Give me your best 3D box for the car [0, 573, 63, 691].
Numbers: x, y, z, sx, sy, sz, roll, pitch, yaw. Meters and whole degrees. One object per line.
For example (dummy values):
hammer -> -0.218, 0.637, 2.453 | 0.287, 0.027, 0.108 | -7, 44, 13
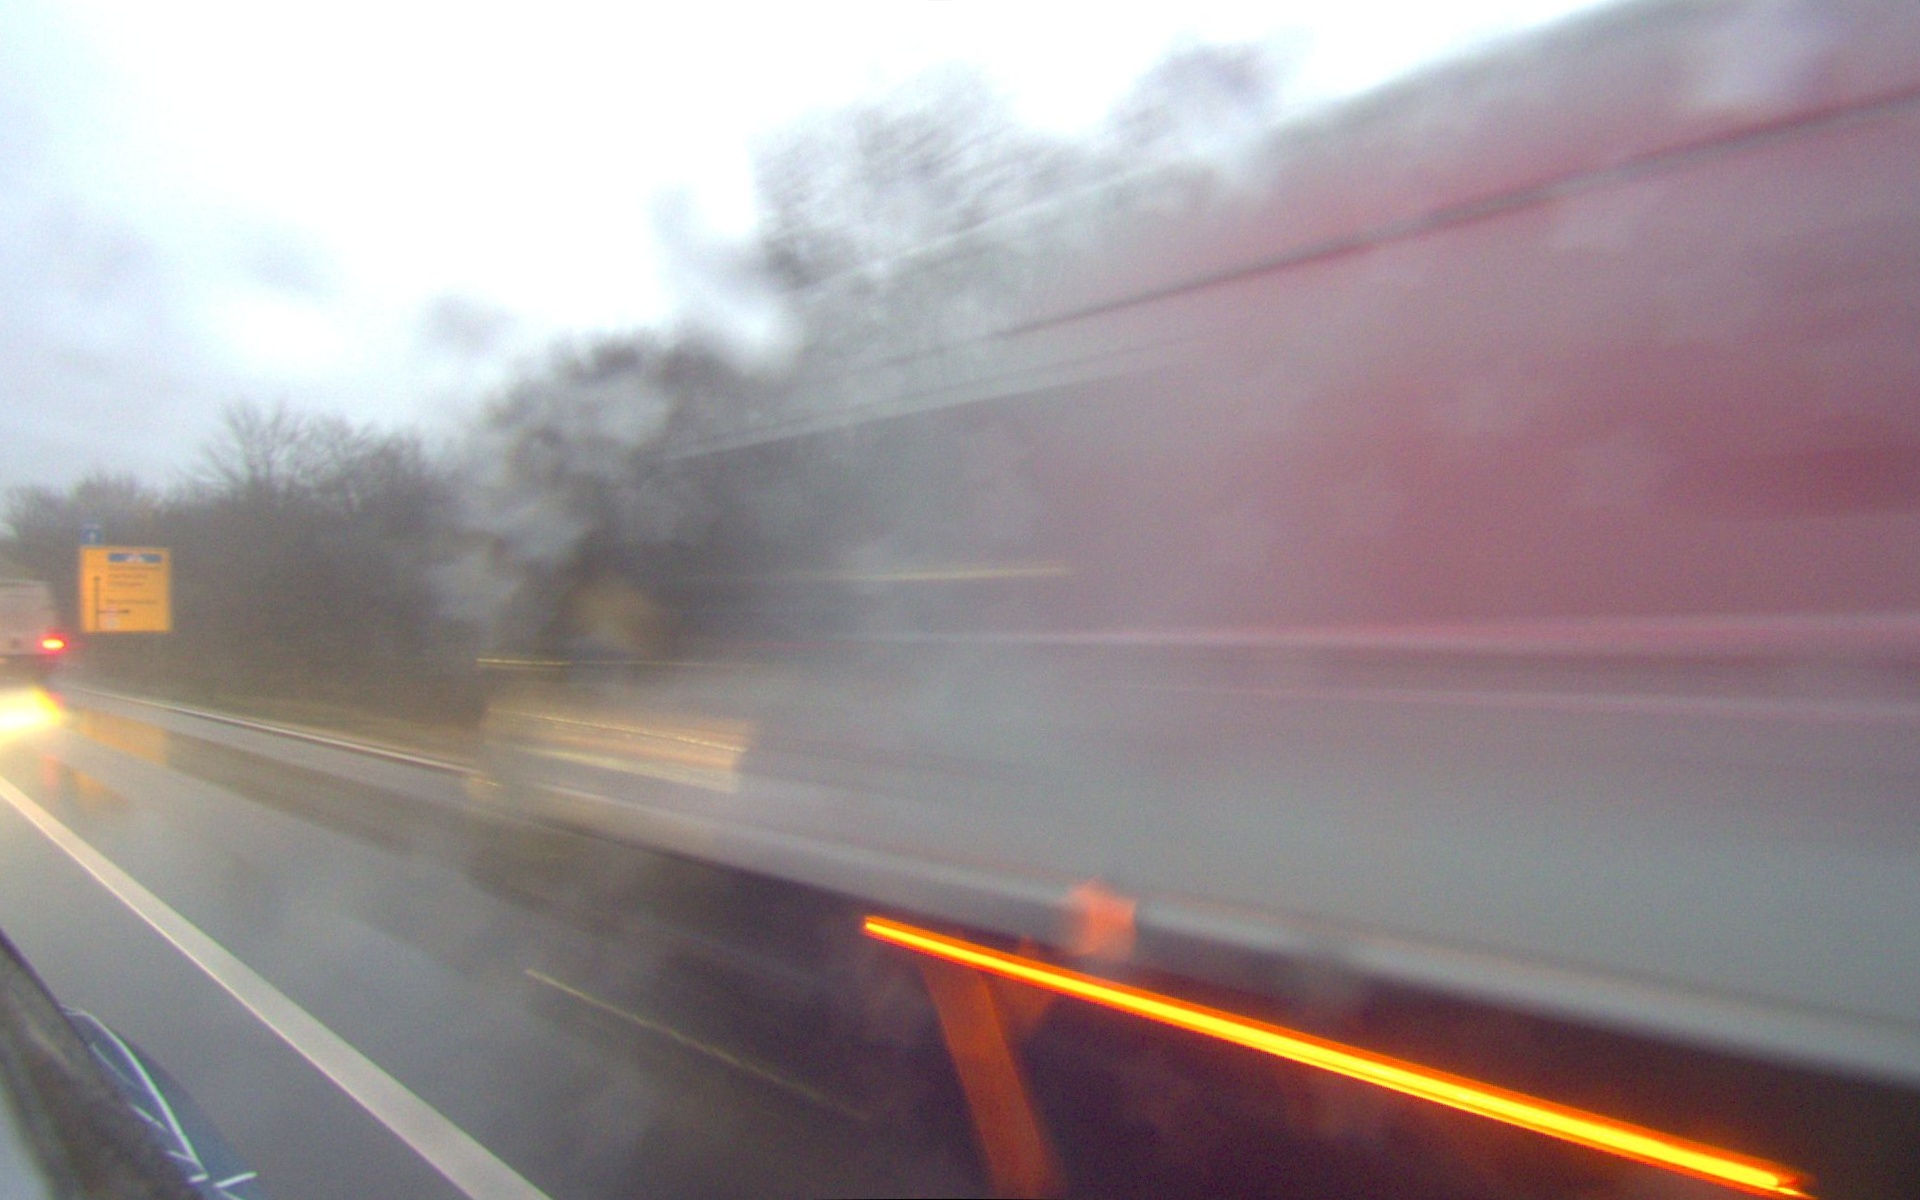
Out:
car -> -25.531, 0.807, 26.594 | 6.649, 2.832, 2.052 | -1, -1, 41

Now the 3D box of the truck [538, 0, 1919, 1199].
truck -> 1.804, -0.021, 2.110 | 6.867, 2.792, 2.082 | -1, 0, 41
